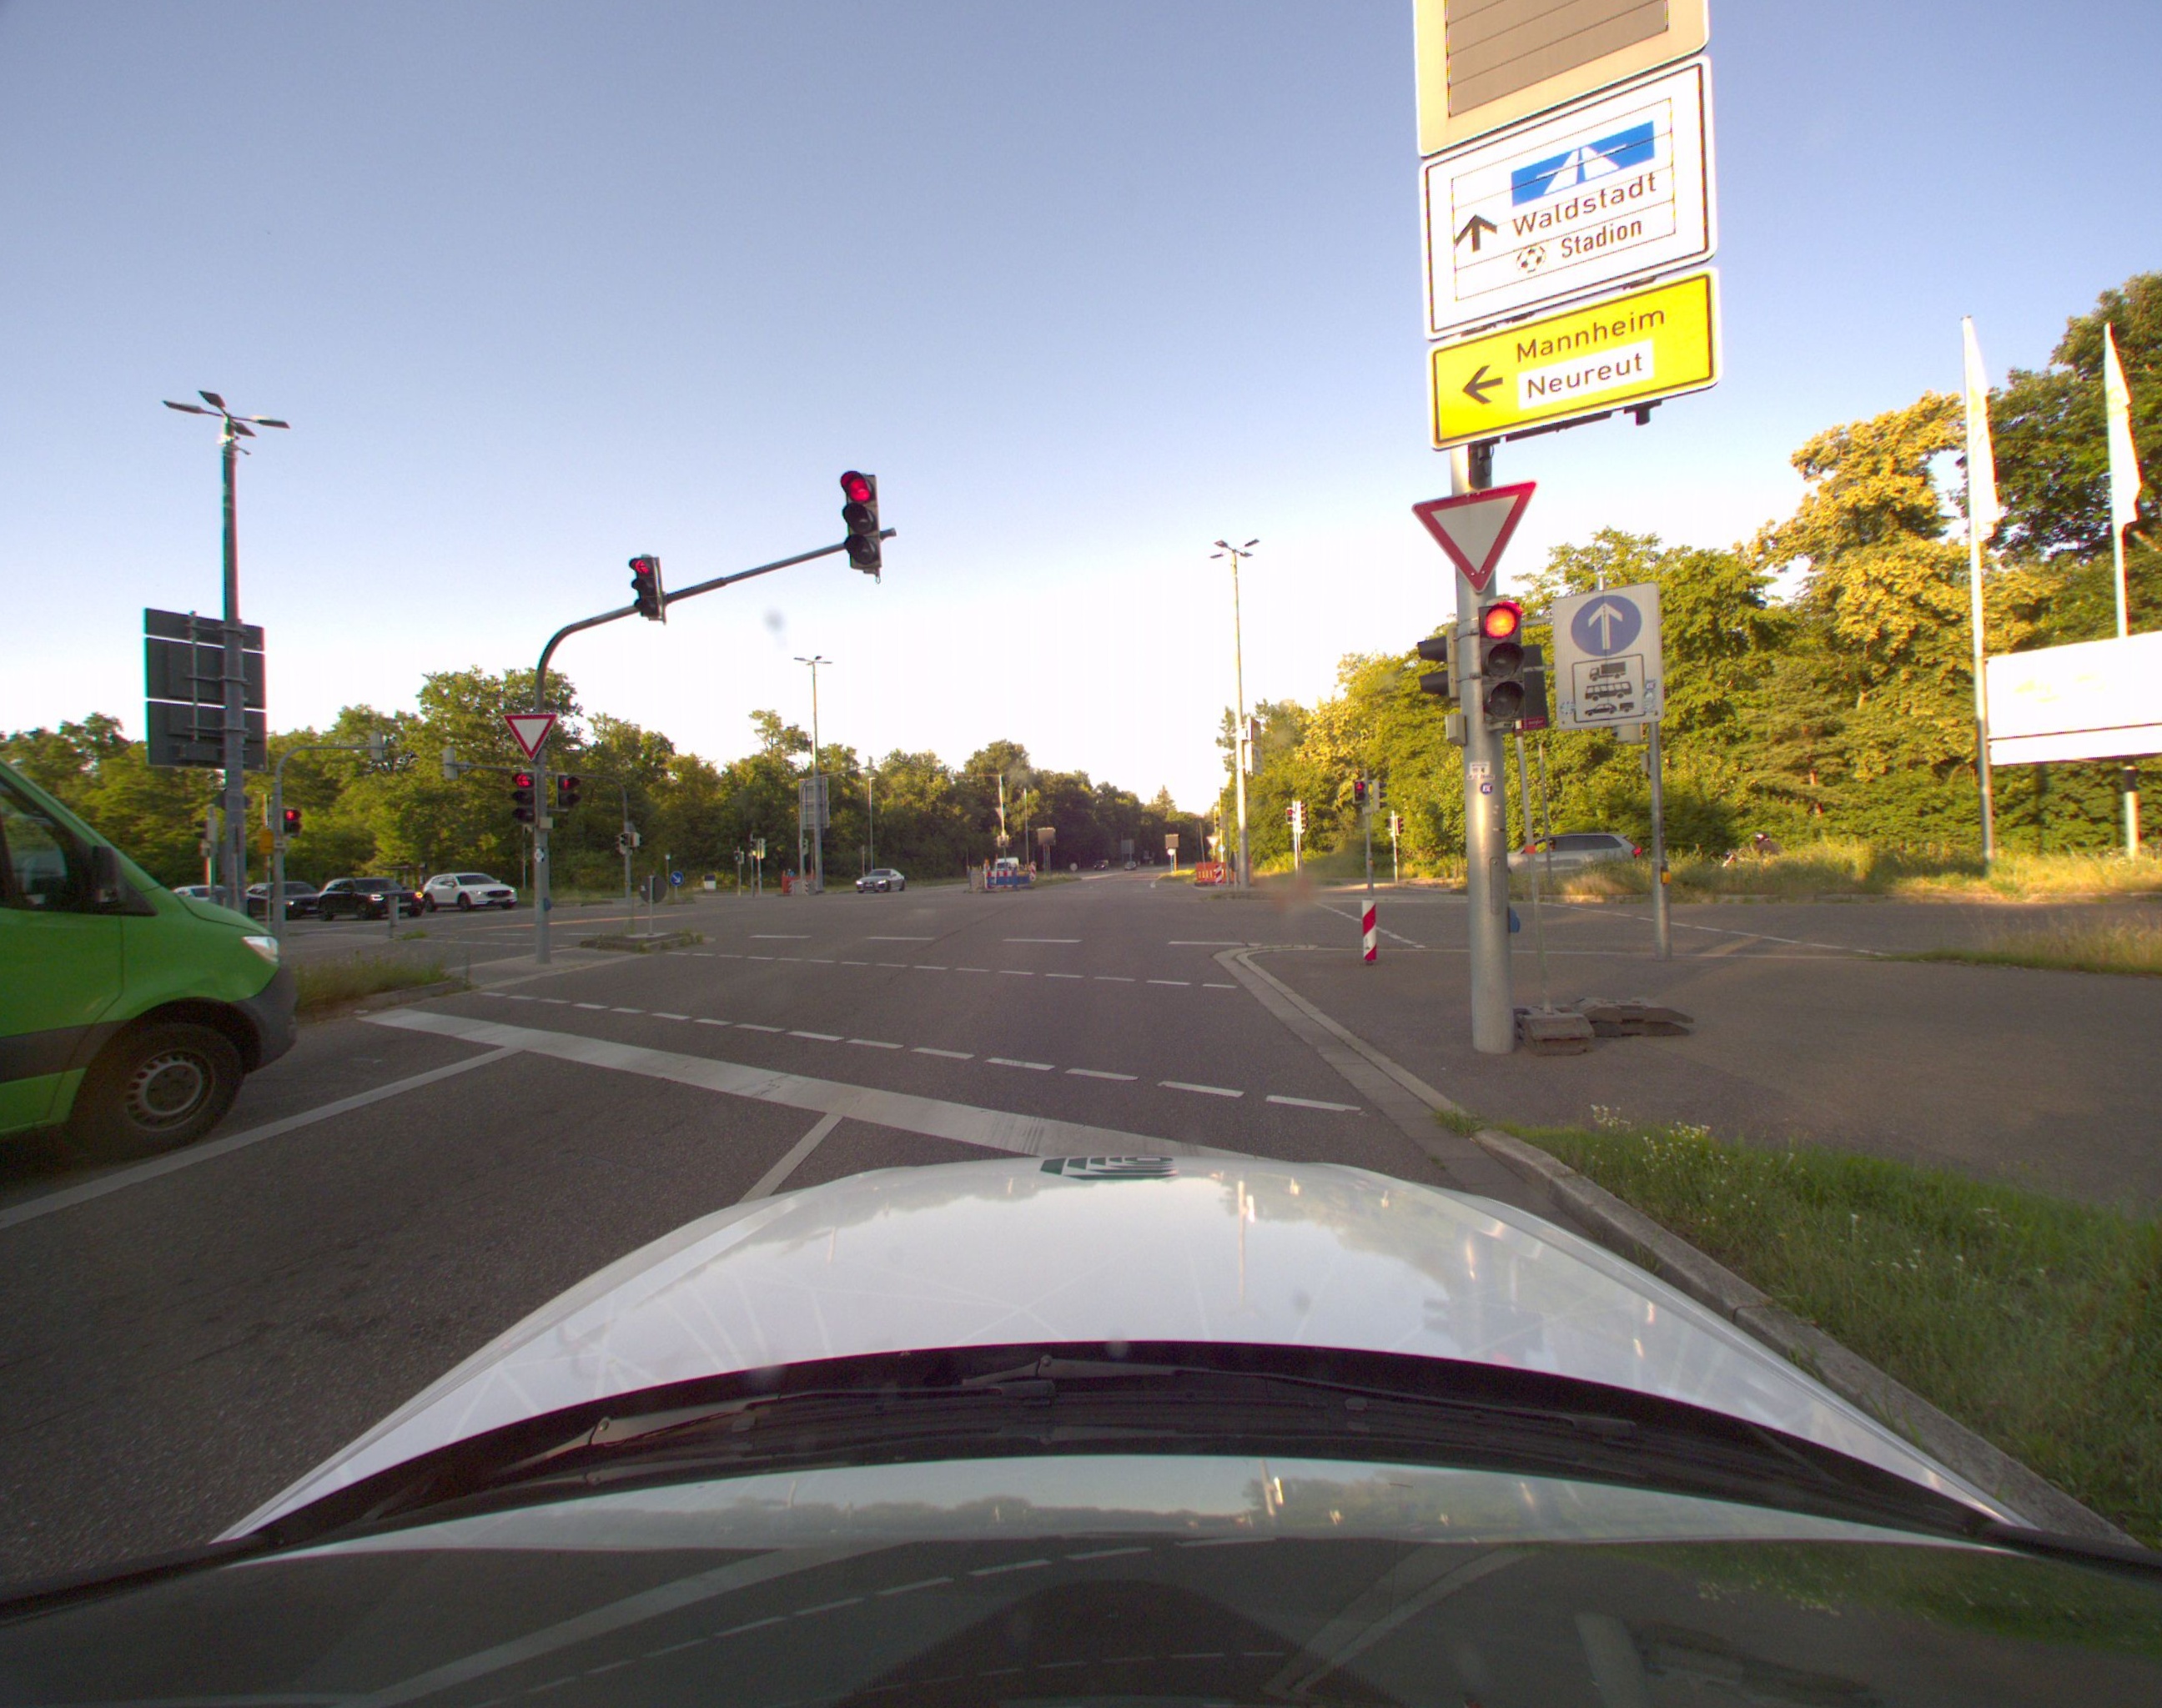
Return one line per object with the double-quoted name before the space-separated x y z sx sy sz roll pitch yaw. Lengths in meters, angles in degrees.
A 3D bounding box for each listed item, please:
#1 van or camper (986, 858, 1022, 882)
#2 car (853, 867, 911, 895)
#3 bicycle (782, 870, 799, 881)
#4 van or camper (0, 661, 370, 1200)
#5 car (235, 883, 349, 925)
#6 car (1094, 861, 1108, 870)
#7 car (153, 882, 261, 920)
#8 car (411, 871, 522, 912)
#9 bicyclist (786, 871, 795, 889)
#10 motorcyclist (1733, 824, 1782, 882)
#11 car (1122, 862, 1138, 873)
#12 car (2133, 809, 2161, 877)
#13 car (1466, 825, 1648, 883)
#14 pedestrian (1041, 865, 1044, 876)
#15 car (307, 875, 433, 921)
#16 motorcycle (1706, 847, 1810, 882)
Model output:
"van or camper" -9.272 1.863 98.469 2.871 2.652 7.133 -2 0 6
"car" -11.889 1.591 48.968 1.882 1.441 4.508 -2 0 6
"bicycle" -22.511 1.685 63.150 1.112 0.825 0.408 -2 -1 -39
"van or camper" -5.864 0.363 2.553 1.987 2.421 5.896 -2 0 1
"car" -33.930 2.156 35.027 4.205 1.640 2.011 -2 0 23
"car" 3.897 2.187 157.042 1.981 1.640 4.012 -2 0 10
"car" -41.262 2.214 38.468 4.207 1.640 2.011 -2 0 21
"car" -26.765 1.644 35.491 4.206 1.640 2.011 -2 0 23
"bicyclist" -22.508 2.019 63.143 0.522 1.387 0.402 -1 -1 -40
"motorcyclist" 19.140 -0.038 23.056 0.878 1.595 0.658 -2 -1 23
"car" 8.307 2.333 138.321 1.979 1.640 4.016 -3 0 14
"car" 25.320 -0.297 16.914 3.827 1.489 1.781 -2 0 24
"car" 15.025 0.026 26.069 4.773 1.598 2.011 -2 0 23
"pedestrian" -6.641 2.851 141.028 0.519 2.014 0.600 0 -1 2
"car" -27.558 1.701 31.552 4.206 1.640 2.011 -2 0 23
"motorcycle" 19.132 0.303 23.066 2.125 0.910 0.666 -2 -1 23
